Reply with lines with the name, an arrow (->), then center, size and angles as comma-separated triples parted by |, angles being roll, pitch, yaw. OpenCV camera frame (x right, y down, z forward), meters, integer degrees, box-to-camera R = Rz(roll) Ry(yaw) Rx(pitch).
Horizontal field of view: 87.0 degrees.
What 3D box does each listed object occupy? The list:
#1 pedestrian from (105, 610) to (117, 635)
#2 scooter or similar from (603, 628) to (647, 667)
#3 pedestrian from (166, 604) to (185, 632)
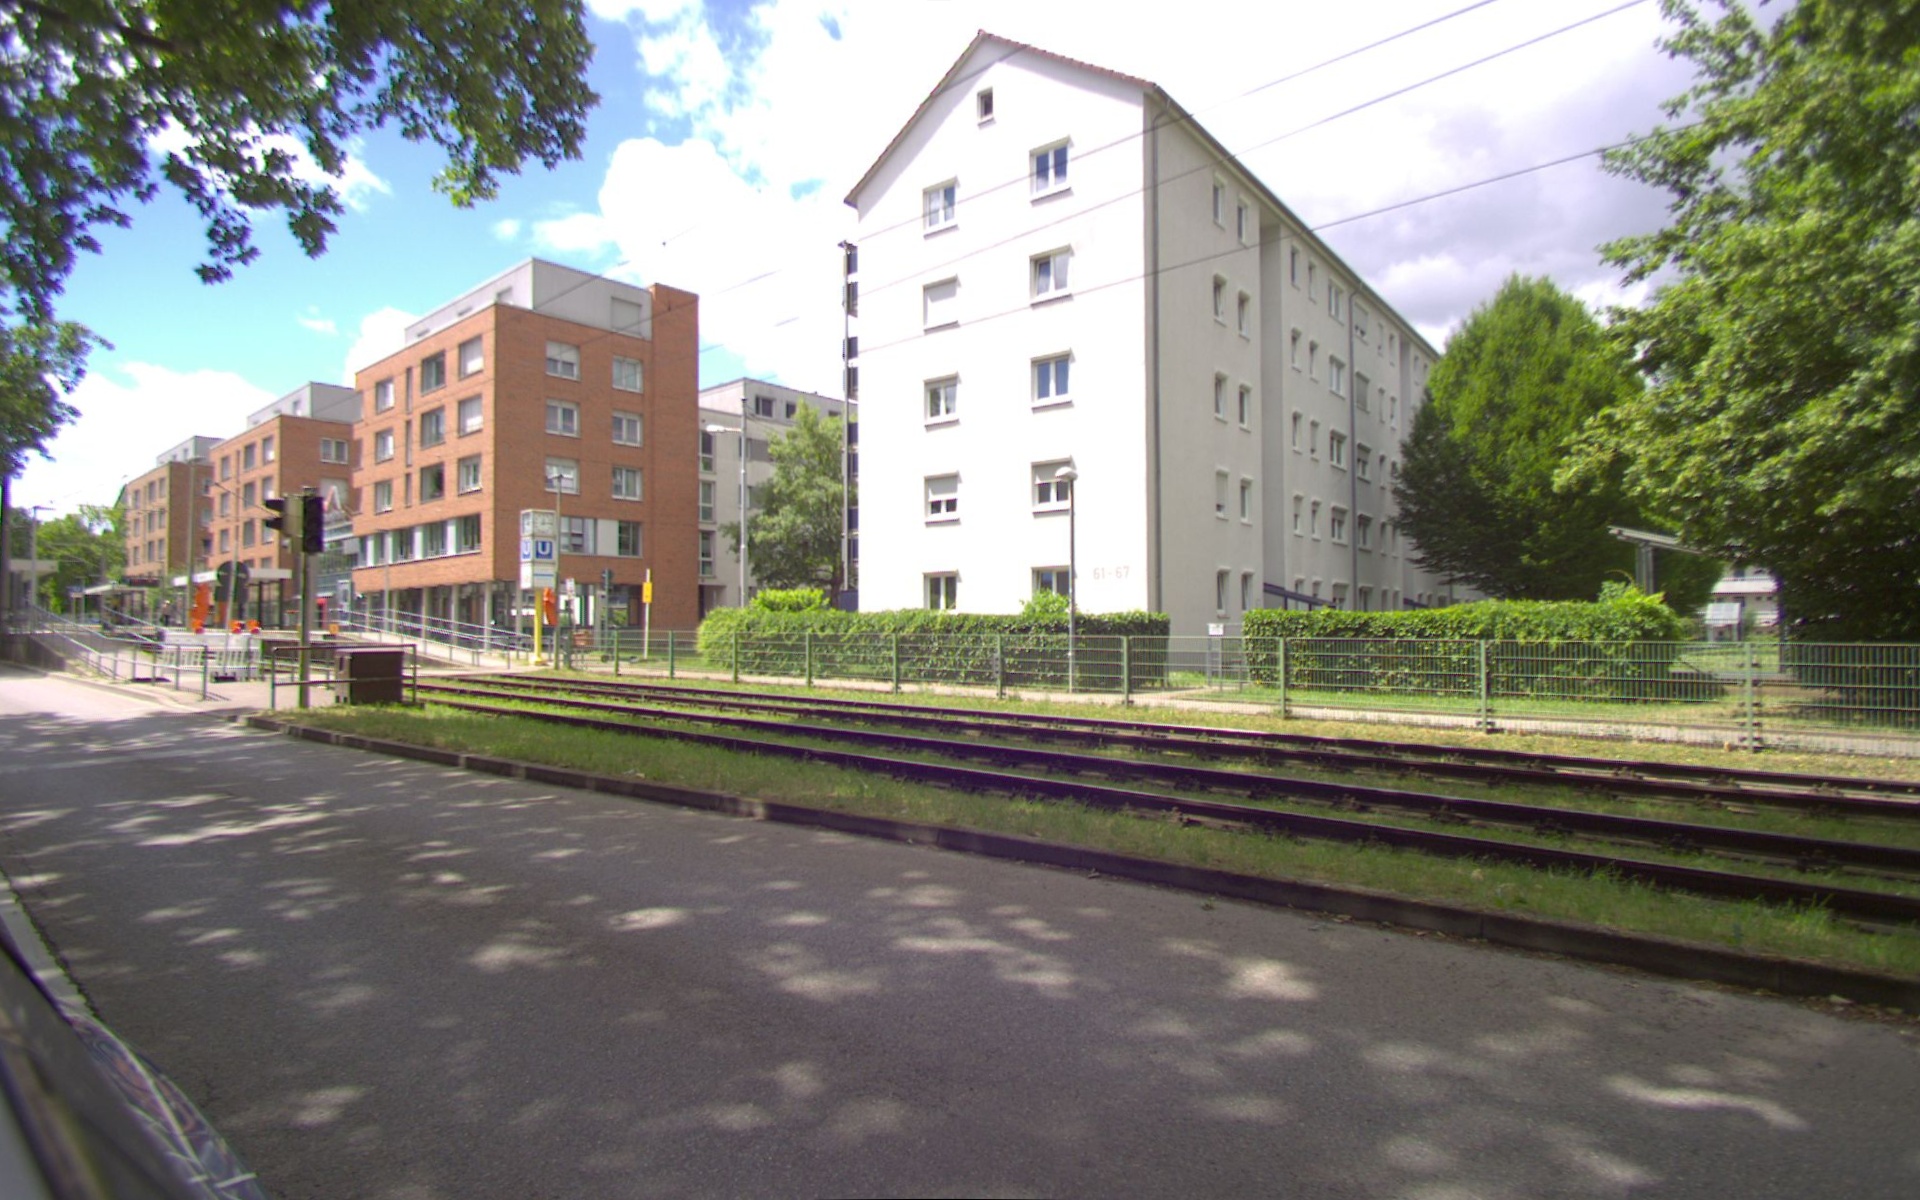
pedestrian -> -61.797, 1.628, 73.694 | 0.527, 1.777, 0.529 | -1, -2, 38
scooter or similar -> -11.008, 1.563, 33.233 | 1.280, 1.263, 0.466 | 2, -3, -39
pedestrian -> -47.330, 1.084, 61.051 | 0.815, 1.641, 0.743 | -2, -1, 41
